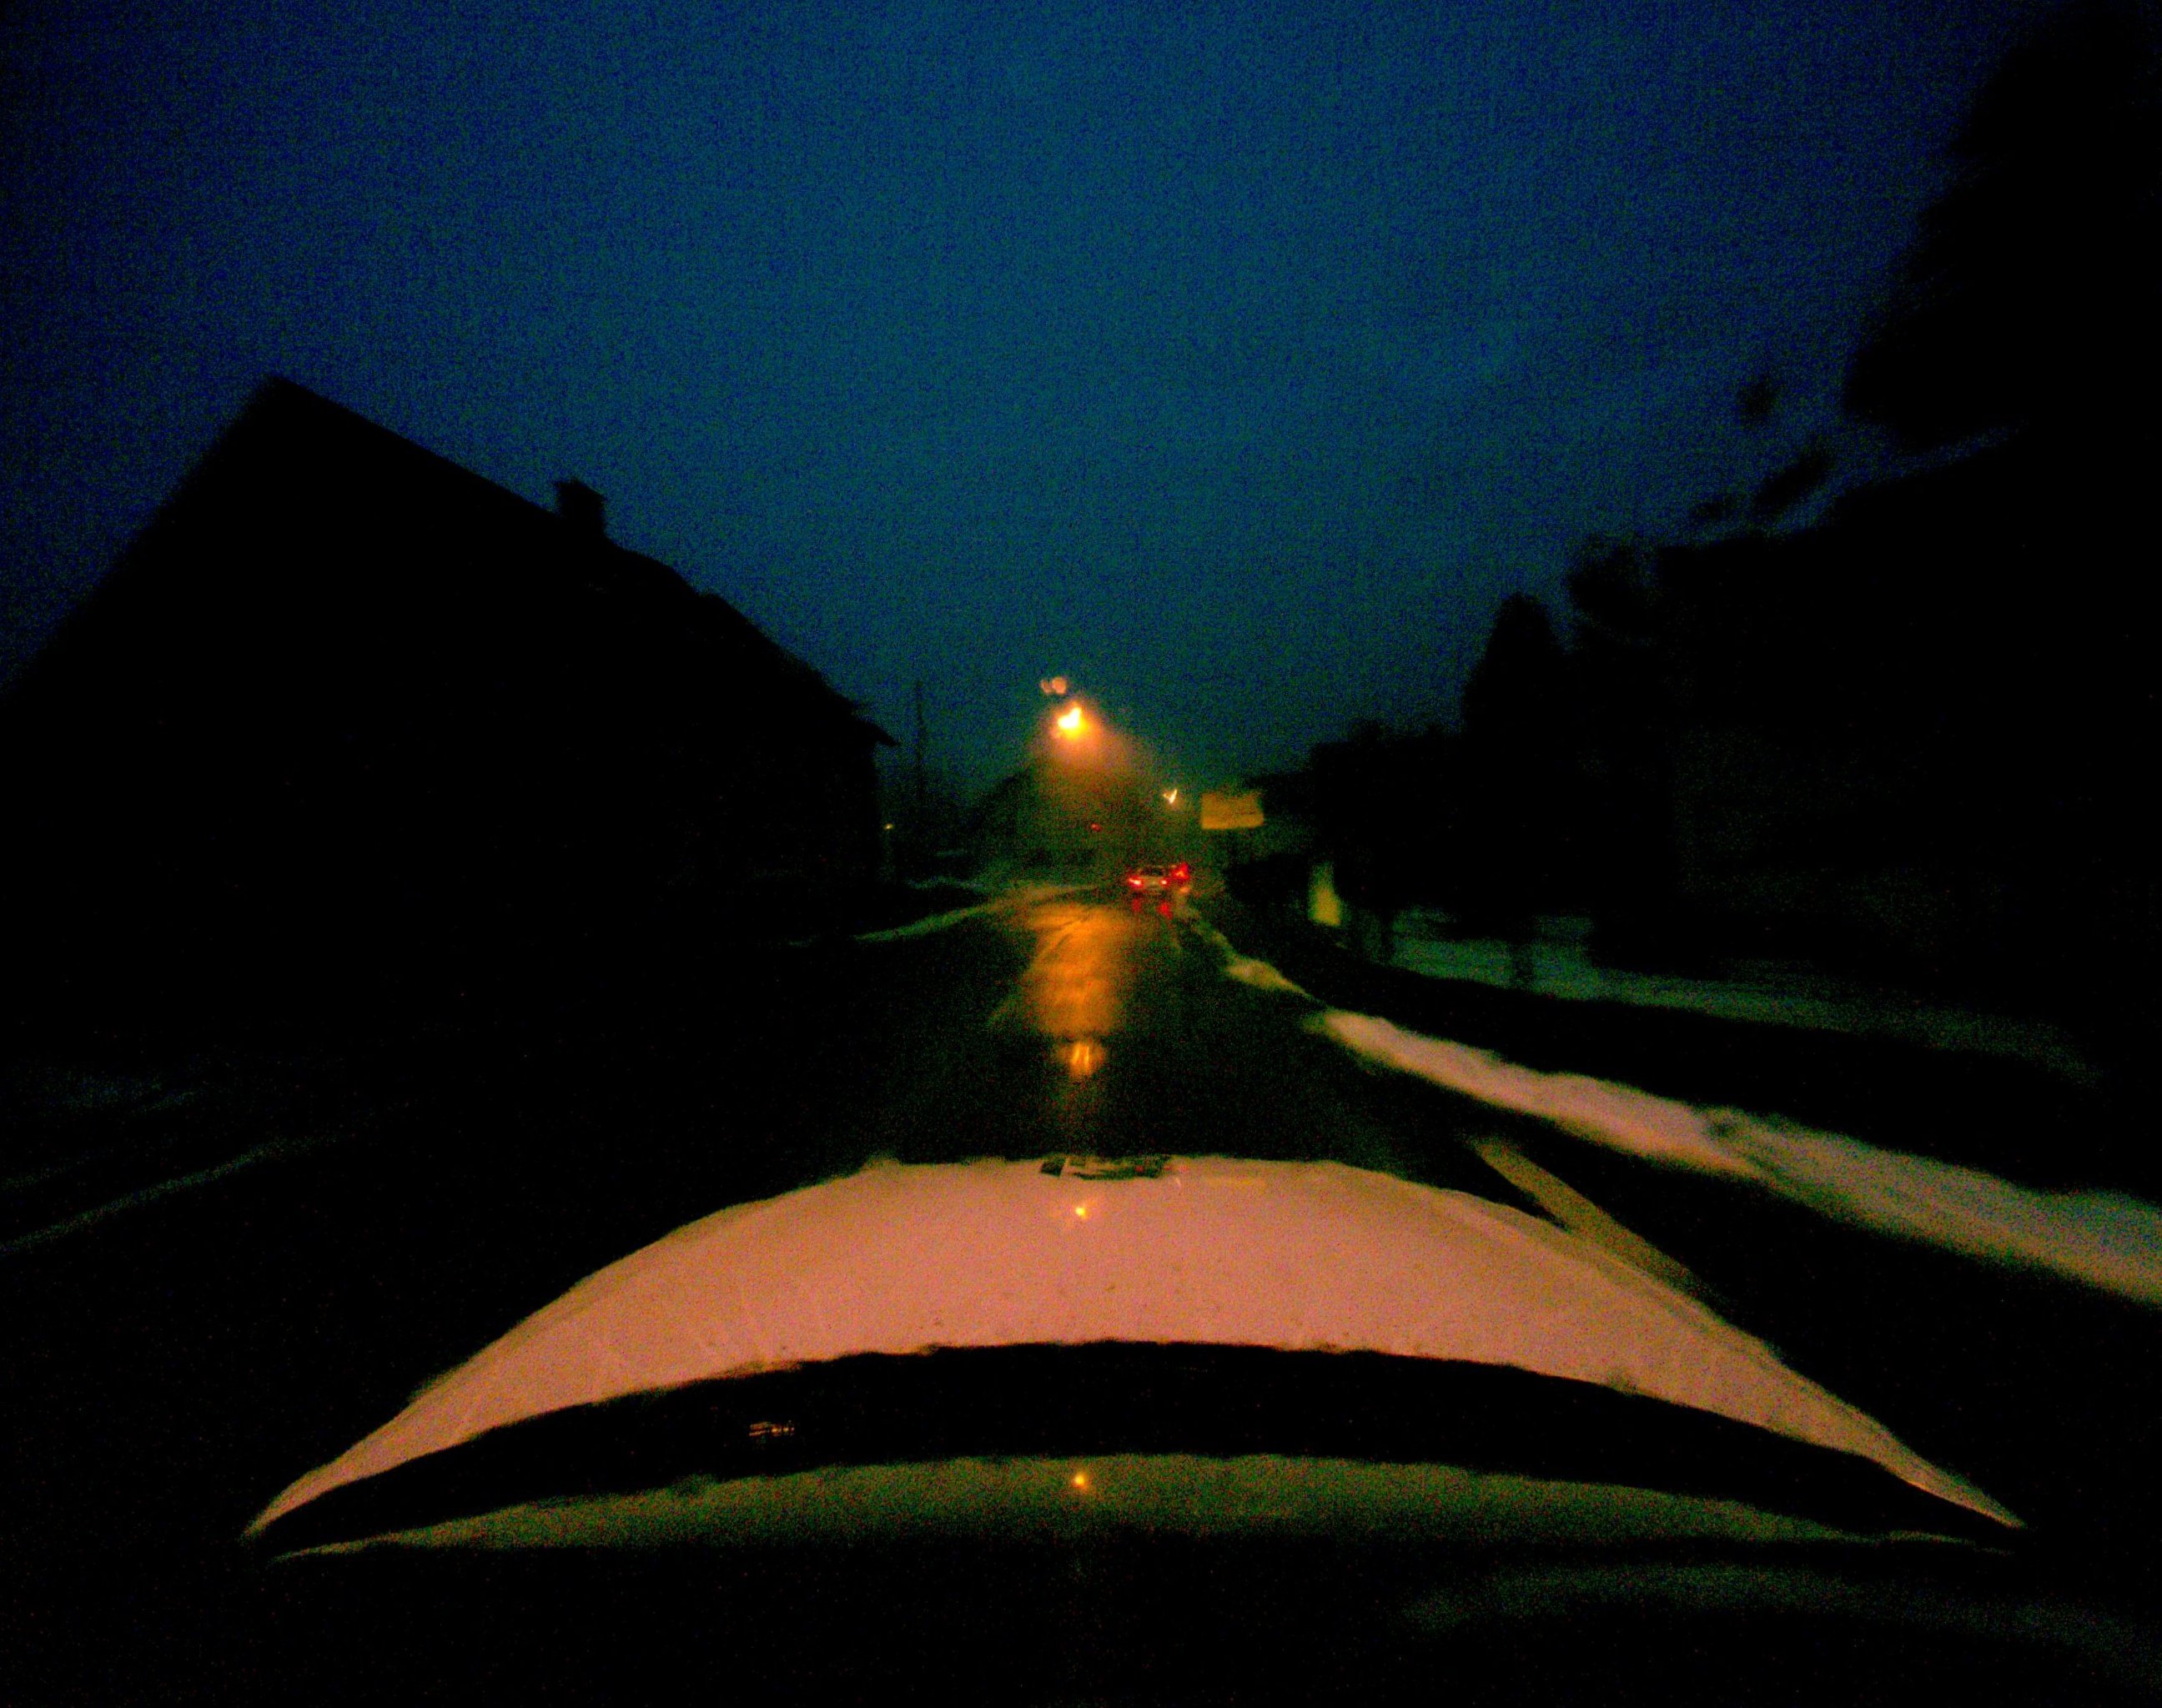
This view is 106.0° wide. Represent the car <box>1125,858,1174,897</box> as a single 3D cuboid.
[{"bbox_3d":[3.240,1.057,37.807,1.983,1.508,4.009,-3,1,7],"label":"car"}]

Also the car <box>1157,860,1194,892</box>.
[{"bbox_3d":[6.361,1.427,54.555,1.980,1.837,4.014,-3,1,12],"label":"car"}]
